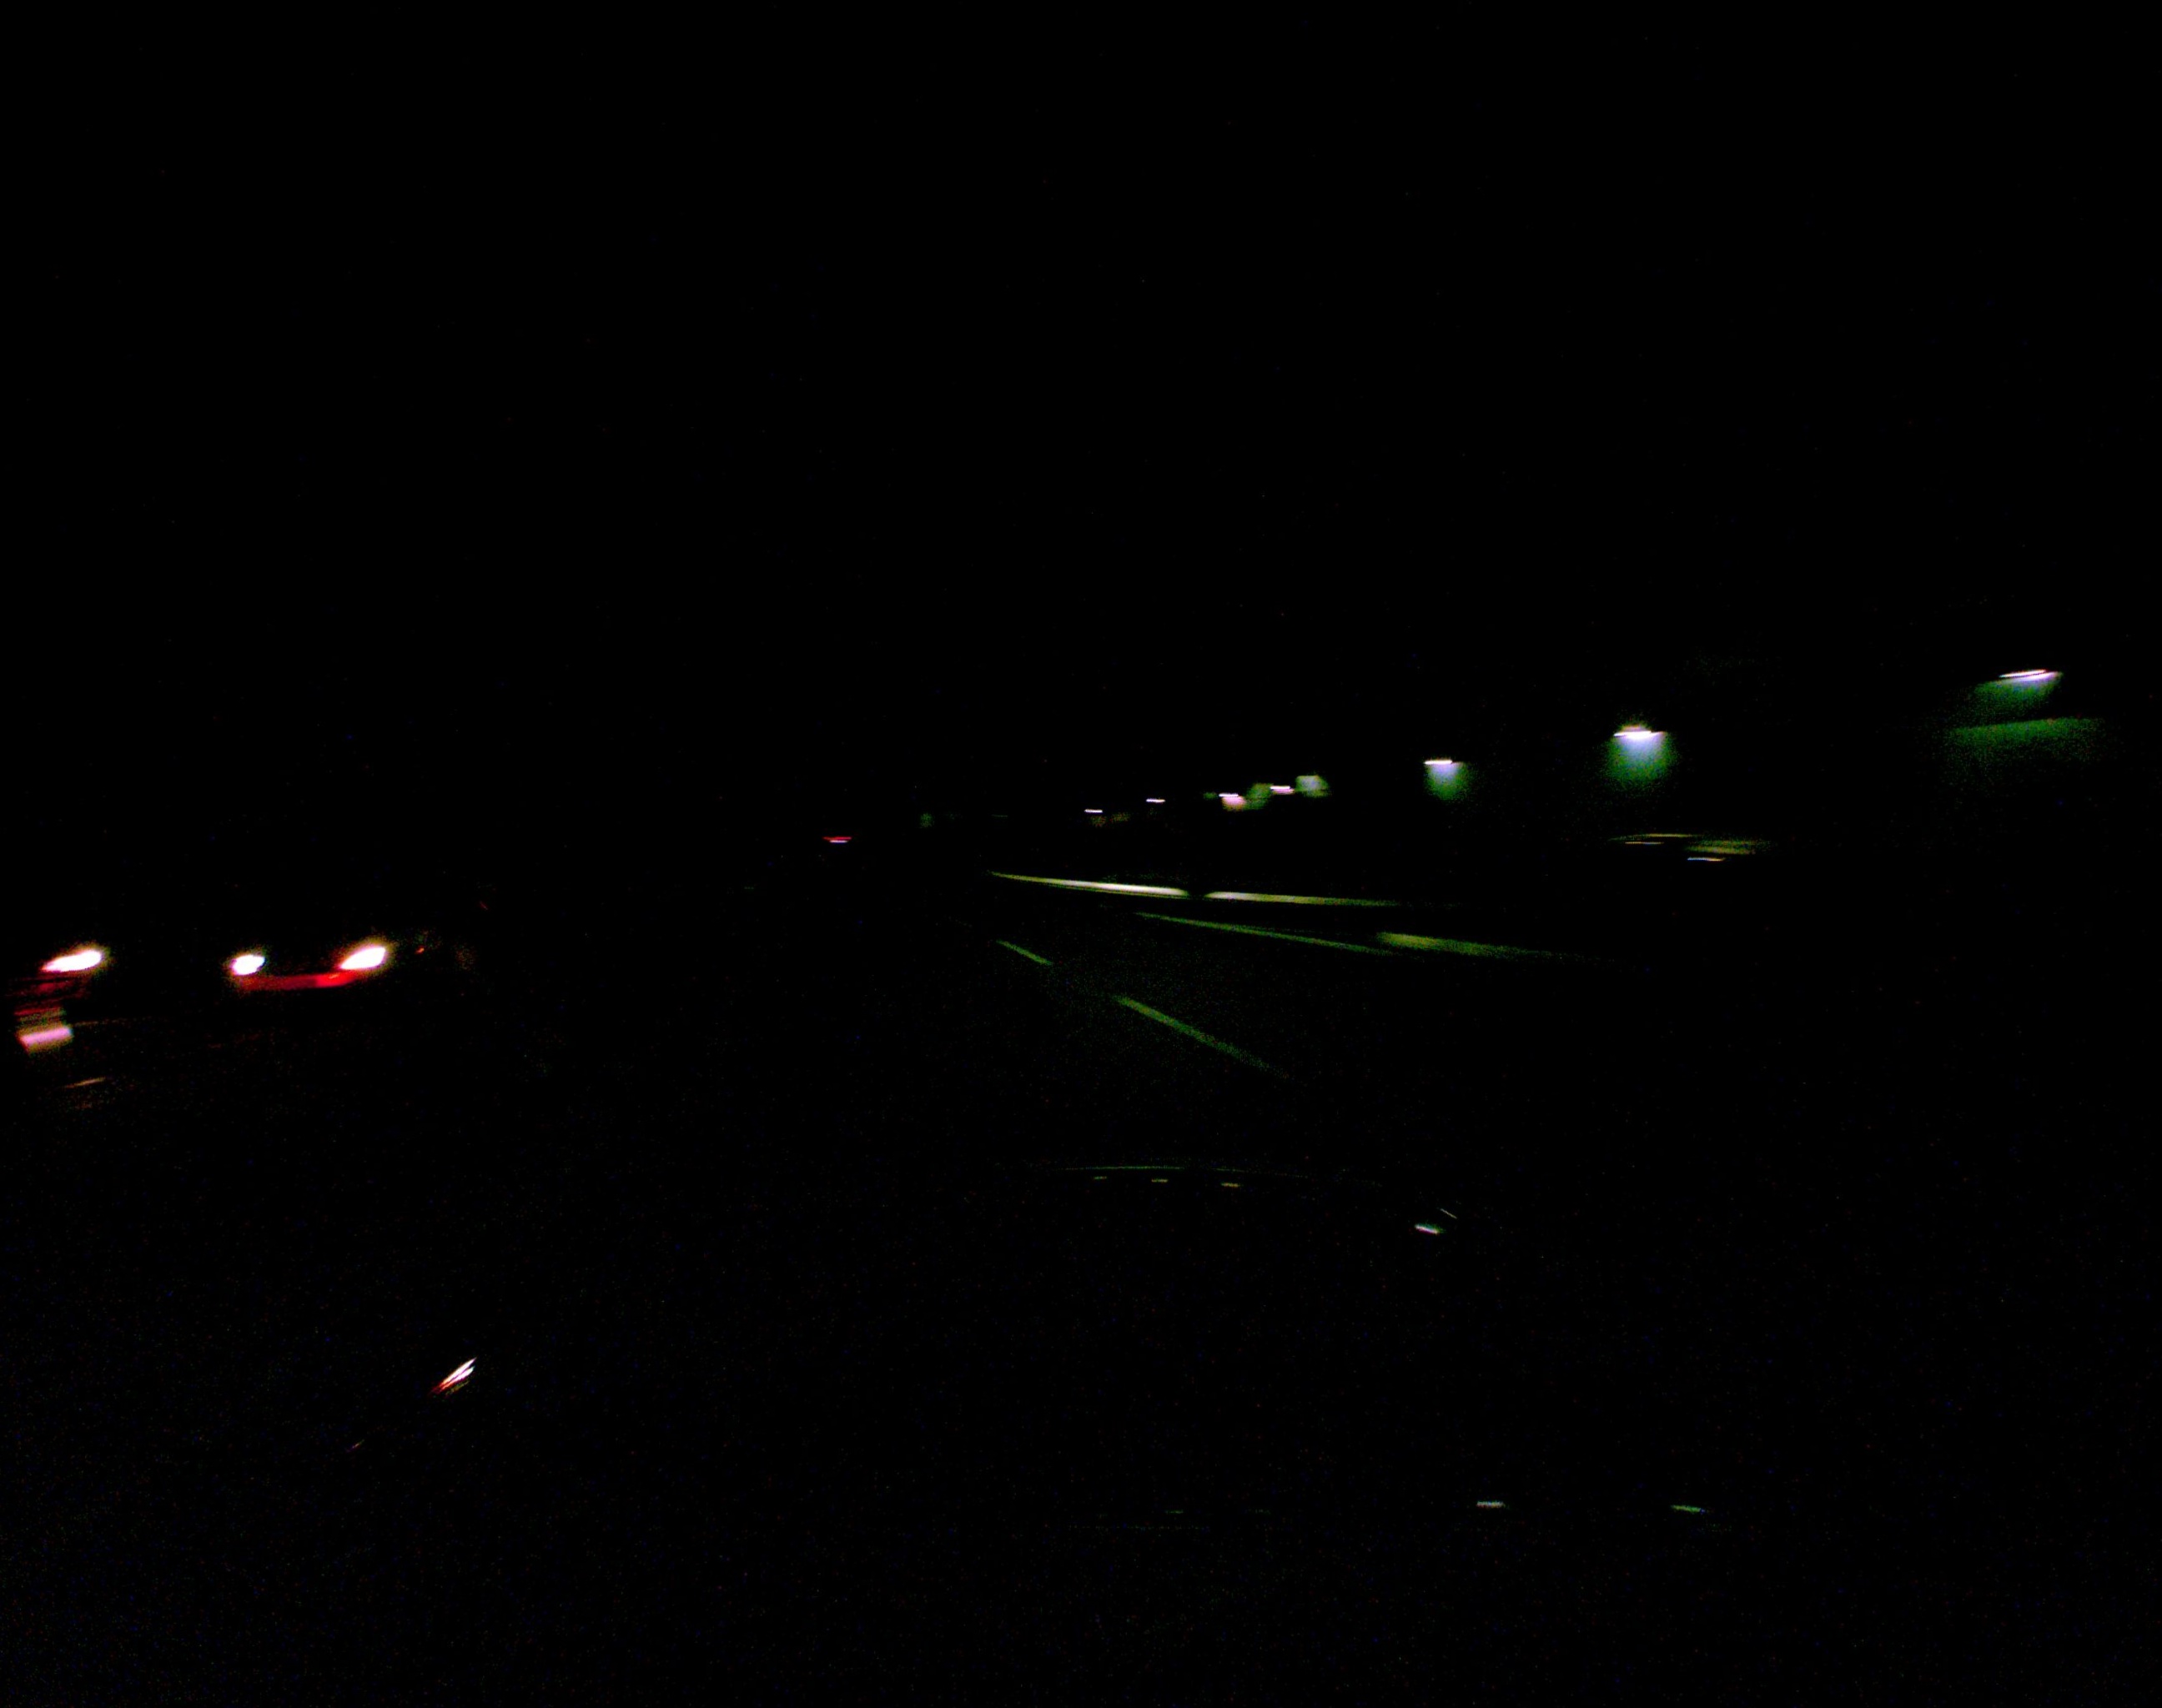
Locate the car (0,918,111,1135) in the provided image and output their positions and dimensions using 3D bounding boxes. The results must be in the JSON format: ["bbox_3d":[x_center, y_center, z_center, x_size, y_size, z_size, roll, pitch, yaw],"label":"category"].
[{"bbox_3d":[-8.122,1.227,4.475,1.703,1.475,3.849,-1,-1,-16],"label":"car"}]

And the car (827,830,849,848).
[{"bbox_3d":[-28.495,-1.751,95.264,2.002,2.013,3.970,-2,2,-23],"label":"car"}]

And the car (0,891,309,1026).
[{"bbox_3d":[-14.039,1.444,12.333,1.686,1.459,3.794,-3,1,-14],"label":"car"}]

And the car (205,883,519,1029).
[{"bbox_3d":[-9.979,1.279,11.779,1.713,1.444,3.966,-3,1,-14],"label":"car"}]
